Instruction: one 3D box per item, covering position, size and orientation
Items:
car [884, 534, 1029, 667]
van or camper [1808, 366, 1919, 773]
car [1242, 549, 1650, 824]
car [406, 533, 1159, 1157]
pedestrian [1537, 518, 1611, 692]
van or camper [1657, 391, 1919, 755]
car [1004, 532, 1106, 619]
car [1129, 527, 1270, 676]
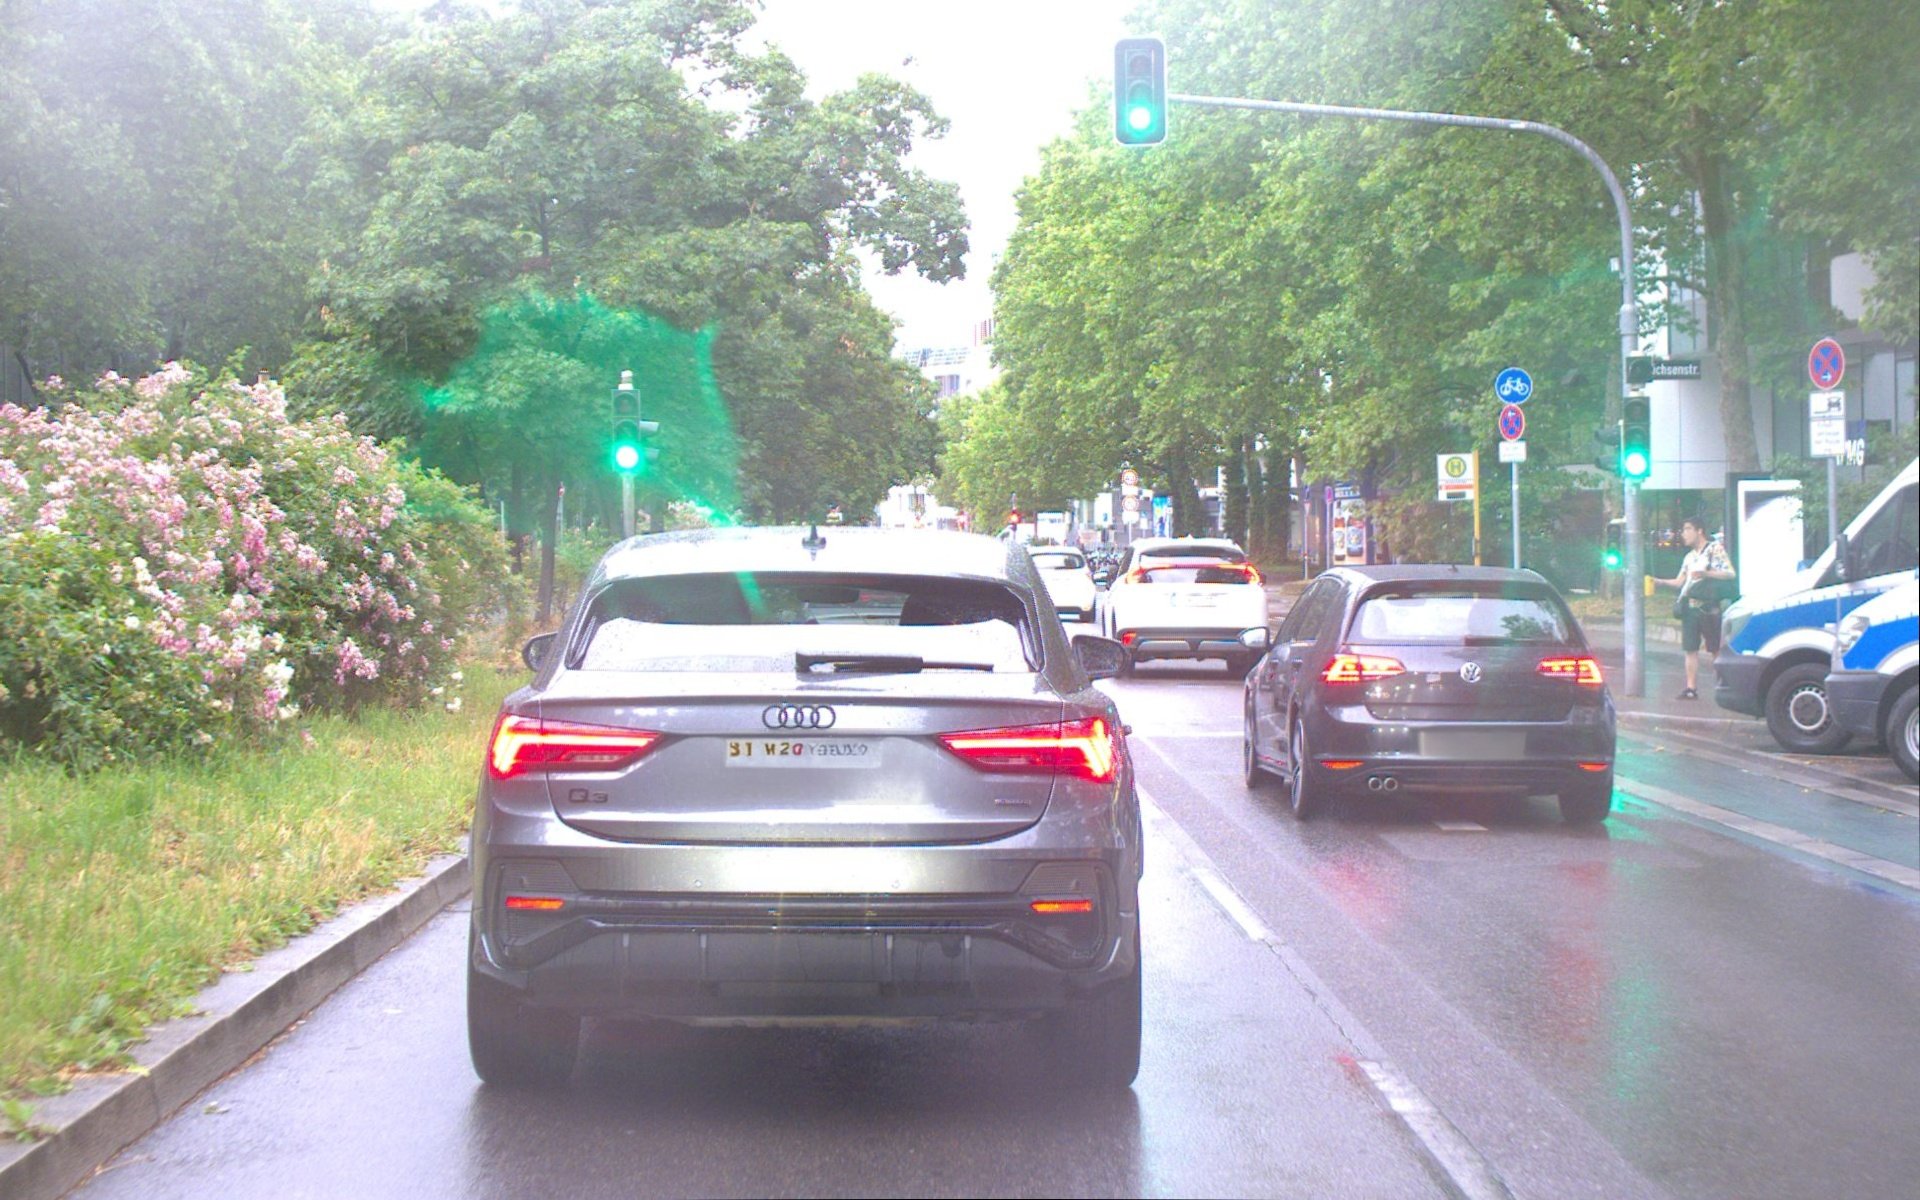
[{"bbox_3d":[-0.067,-0.028,43.160,1.721,1.572,3.962,0,1,-1],"label":"car"},{"bbox_3d":[8.624,-0.207,22.155,5.805,2.671,1.996,0,1,35],"label":"van or camper"},{"bbox_3d":[2.752,0.429,20.302,1.765,1.408,4.000,-1,1,-1],"label":"car"},{"bbox_3d":[-0.411,0.563,10.773,1.863,1.527,4.527,0,1,1],"label":"car"},{"bbox_3d":[6.492,0.049,36.356,0.605,1.824,0.564,0,1,-10],"label":"pedestrian"},{"bbox_3d":[8.331,-0.201,25.557,5.810,2.668,2.143,1,1,37],"label":"van or camper"},{"bbox_3d":[1.964,-0.542,72.080,1.993,1.744,4.000,-1,1,0],"label":"car"},{"bbox_3d":[2.811,-0.013,40.732,1.433,1.679,2.979,-1,1,0],"label":"car"}]
